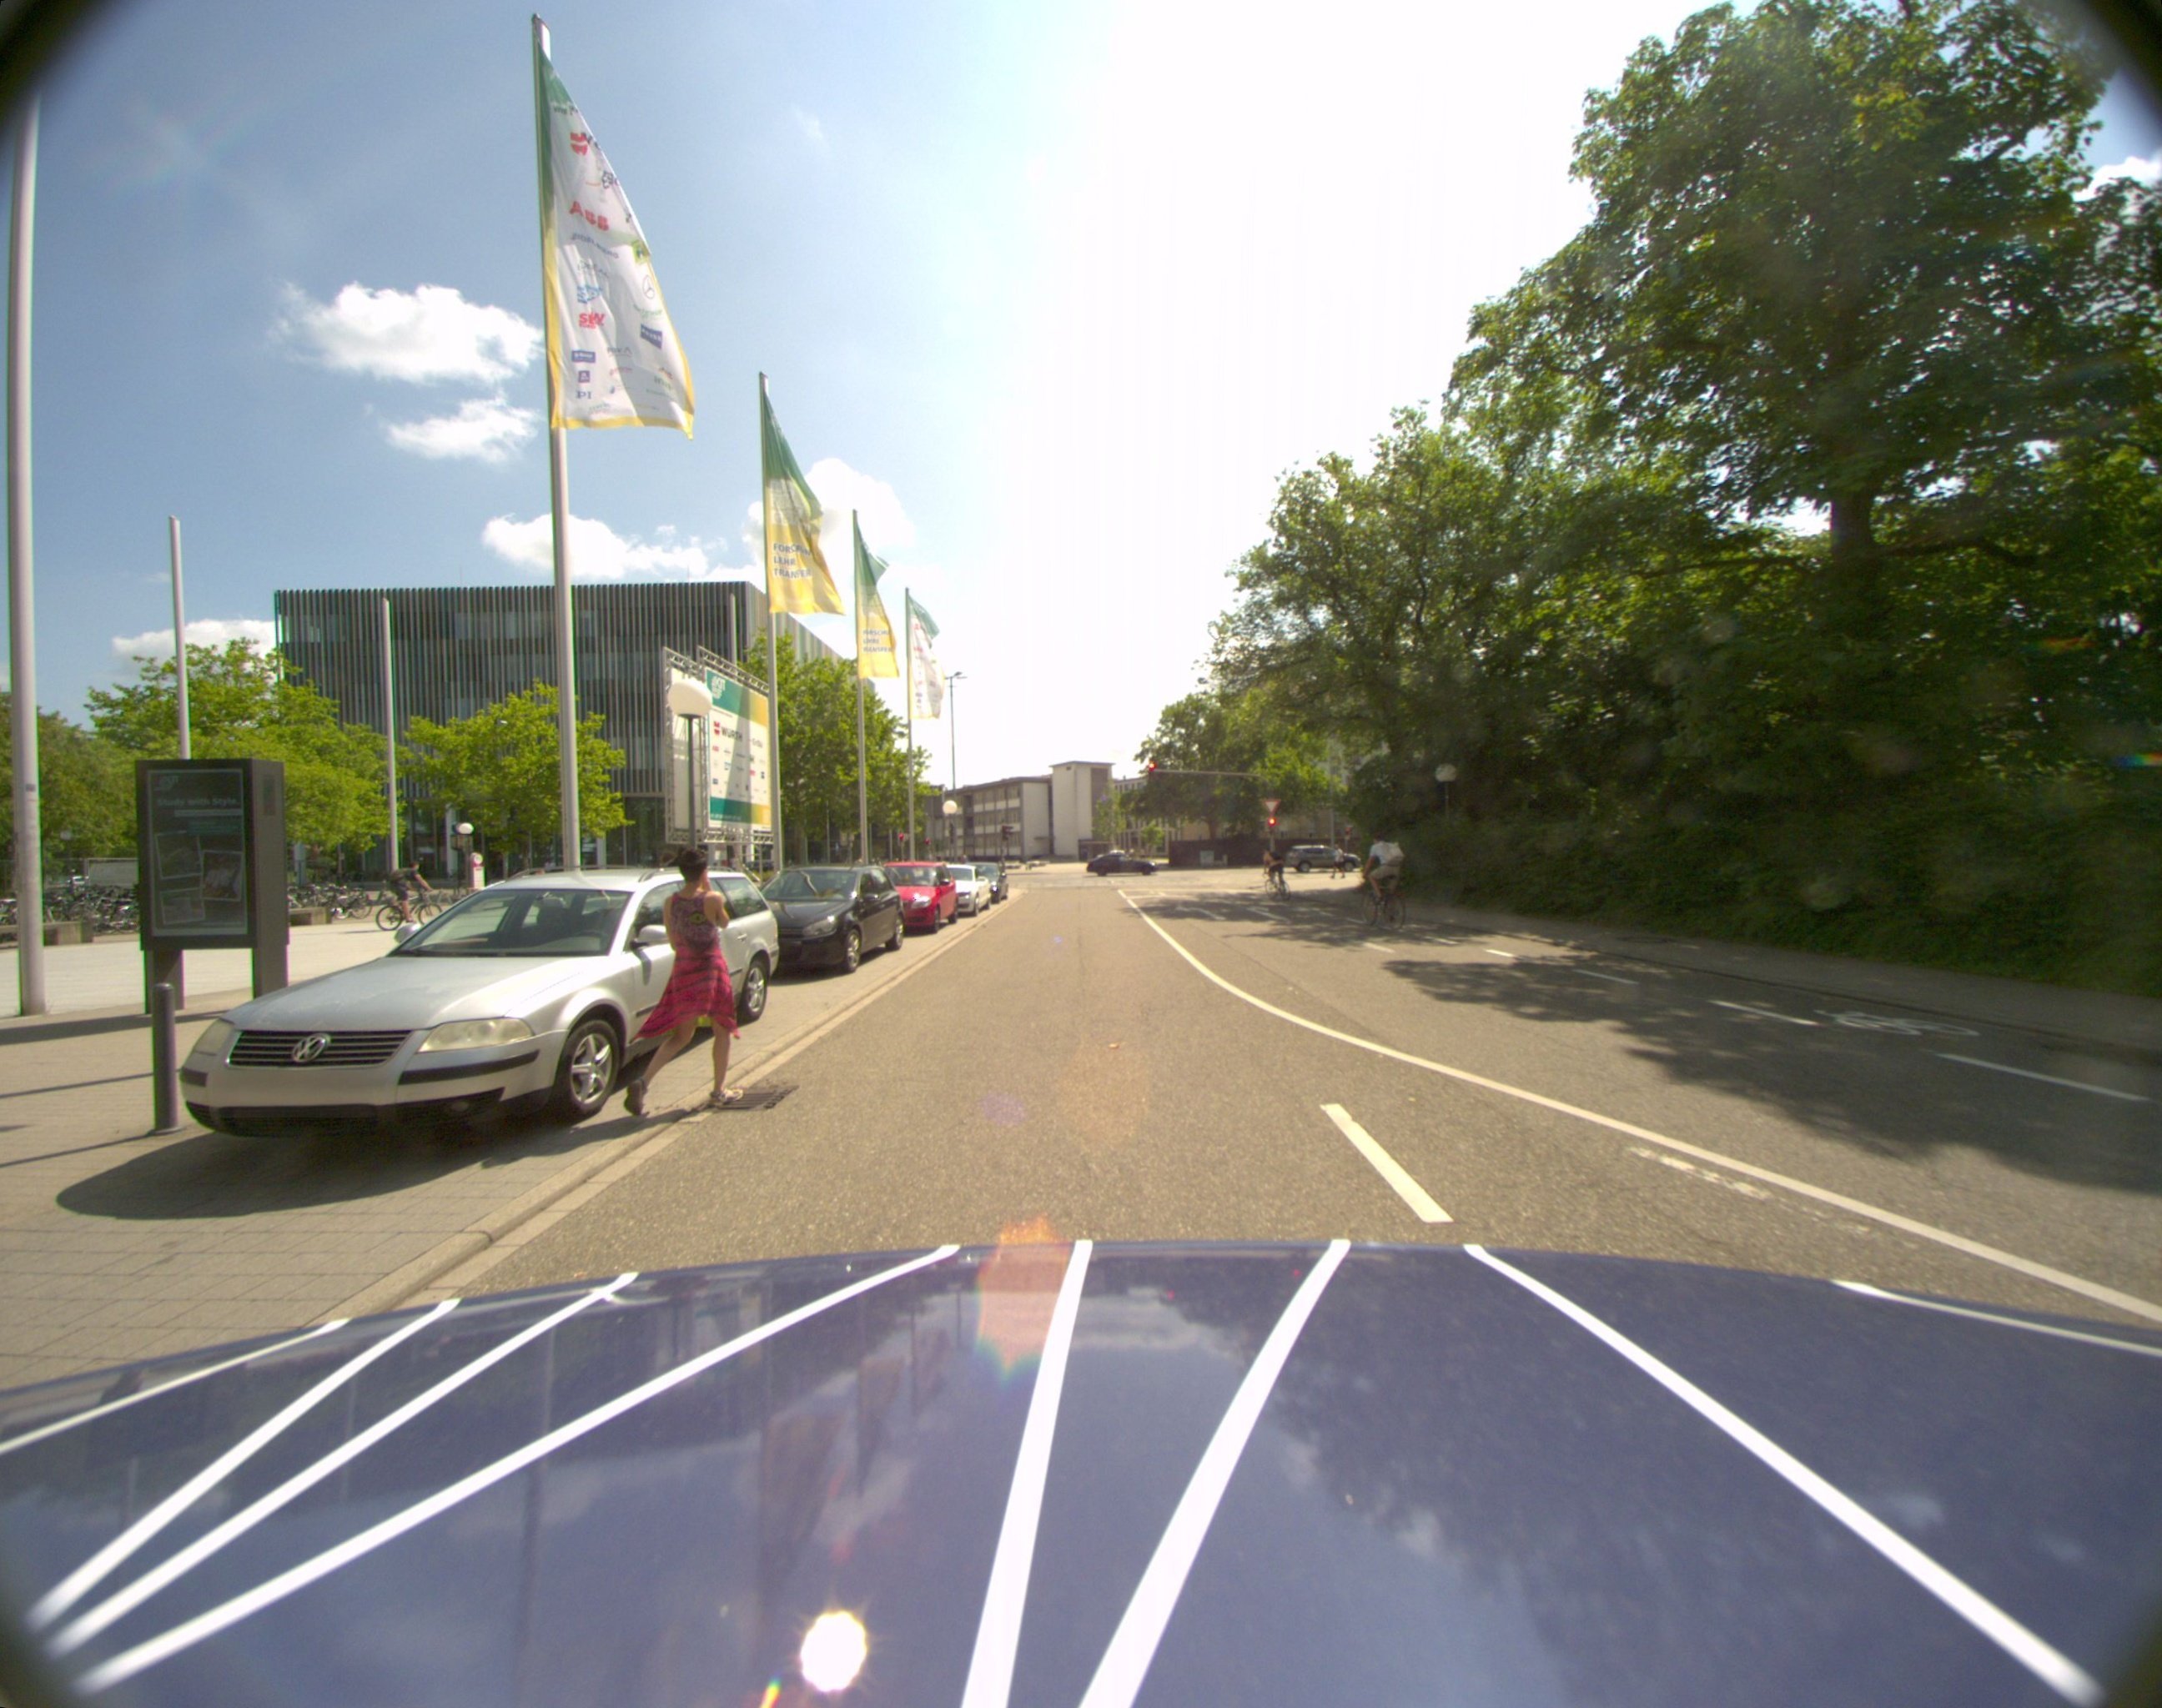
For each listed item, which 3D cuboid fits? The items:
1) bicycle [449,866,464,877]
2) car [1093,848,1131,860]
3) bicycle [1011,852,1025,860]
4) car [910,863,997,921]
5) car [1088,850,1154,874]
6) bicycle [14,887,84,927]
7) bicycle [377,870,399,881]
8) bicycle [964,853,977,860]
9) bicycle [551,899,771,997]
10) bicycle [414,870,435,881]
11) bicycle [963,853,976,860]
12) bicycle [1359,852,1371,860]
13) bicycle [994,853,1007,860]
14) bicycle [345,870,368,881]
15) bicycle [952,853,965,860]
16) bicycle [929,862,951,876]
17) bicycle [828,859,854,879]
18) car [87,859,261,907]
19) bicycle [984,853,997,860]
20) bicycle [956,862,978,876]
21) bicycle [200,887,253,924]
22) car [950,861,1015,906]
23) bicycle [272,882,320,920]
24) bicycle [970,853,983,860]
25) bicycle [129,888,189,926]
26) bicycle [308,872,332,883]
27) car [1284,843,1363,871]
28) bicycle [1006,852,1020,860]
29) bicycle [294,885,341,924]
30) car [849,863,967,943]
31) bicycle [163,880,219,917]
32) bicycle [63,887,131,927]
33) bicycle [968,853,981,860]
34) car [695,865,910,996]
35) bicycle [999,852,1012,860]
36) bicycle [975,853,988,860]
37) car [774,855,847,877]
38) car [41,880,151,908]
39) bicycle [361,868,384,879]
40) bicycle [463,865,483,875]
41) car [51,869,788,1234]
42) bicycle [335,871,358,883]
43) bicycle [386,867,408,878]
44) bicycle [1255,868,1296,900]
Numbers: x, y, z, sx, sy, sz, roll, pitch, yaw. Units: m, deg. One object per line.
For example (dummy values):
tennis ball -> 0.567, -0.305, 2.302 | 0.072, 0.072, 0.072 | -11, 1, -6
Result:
bicycle -> -59.723, 1.657, 72.684 | 0.373, 0.950, 1.544 | -2, 2, -11
car -> 3.917, -0.058, 96.137 | 4.501, 1.299, 1.995 | -2, 3, -32
bicycle -> -8.289, 0.273, 100.080 | 1.776, 0.950, 0.528 | -1, 3, -26
car -> -3.567, 1.020, 21.996 | 1.722, 1.392, 4.438 | 1, 1, 0
car -> 2.588, 0.498, 49.322 | 4.186, 1.408, 1.830 | 0, 3, 4
bicycle -> -32.744, 1.662, 24.139 | 0.605, 1.093, 1.763 | -3, 3, -30
bicycle -> -67.029, 2.068, 73.486 | 0.433, 0.950, 1.784 | -1, 2, 0
bicycle -> -16.105, 0.349, 111.120 | 1.776, 0.950, 0.527 | -1, 3, -28
bicycle -> -5.033, 1.108, 9.213 | 2.152, 1.072, 0.904 | 0, 1, 2
bicycle -> -63.539, 2.052, 73.548 | 0.433, 0.950, 1.784 | -1, 2, 0
bicycle -> -16.427, 0.370, 111.693 | 1.776, 0.950, 0.527 | -1, 3, -28
bicycle -> 25.662, 0.211, 68.671 | 0.409, 0.678, 1.005 | -2, 3, -25
bicycle -> -11.009, 0.300, 104.183 | 1.776, 0.950, 0.527 | -1, 3, -28
bicycle -> -70.120, 2.053, 73.523 | 0.433, 0.950, 1.784 | -1, 2, 0
bicycle -> -18.526, 0.424, 114.805 | 1.776, 0.950, 0.527 | -1, 3, -28
bicycle -> -11.755, 1.249, 63.388 | 1.673, 1.118, 0.693 | -2, 1, -28
bicycle -> -13.264, 0.859, 42.013 | 0.817, 1.066, 1.892 | 0, -2, 0
car -> -39.090, 1.225, 32.853 | 4.939, 1.854, 1.903 | -1, 2, -3
bicycle -> -12.573, 0.325, 105.900 | 1.776, 0.950, 0.527 | -1, 3, -28
bicycle -> -9.699, 1.282, 64.595 | 1.673, 1.118, 0.694 | -2, 1, -25
bicycle -> -28.358, 1.702, 25.255 | 0.605, 1.092, 1.763 | -3, 1, -30
car -> -3.517, 1.011, 27.849 | 1.722, 1.392, 4.948 | 1, 1, 0
bicycle -> -26.065, 1.548, 25.262 | 0.605, 1.093, 1.763 | -3, 3, -30
bicycle -> -14.965, 0.357, 108.986 | 1.776, 0.950, 0.527 | -1, 3, -28
bicycle -> -29.380, 1.663, 24.234 | 0.605, 1.092, 1.763 | -3, 1, -30
bicycle -> -73.612, 2.272, 73.475 | 0.433, 0.950, 1.784 | -1, 2, 0
car -> 15.414, 0.163, 48.482 | 4.473, 1.669, 1.825 | -1, 1, 5
bicycle -> -9.072, 0.245, 101.140 | 1.776, 0.950, 0.527 | -1, 3, -28
bicycle -> -25.140, 1.652, 25.034 | 0.605, 1.093, 1.763 | -3, 3, -30
car -> -3.721, 0.992, 17.053 | 1.618, 1.488, 4.147 | 1, 0, 1
bicycle -> -28.707, 1.425, 24.540 | 0.605, 1.092, 1.763 | -2, 1, -30
bicycle -> -30.062, 1.603, 23.239 | 0.605, 1.092, 1.763 | -3, 1, -30
bicycle -> -15.330, 0.365, 109.802 | 1.776, 0.950, 0.527 | -1, 3, -28
car -> -3.918, 0.984, 11.468 | 1.723, 1.520, 4.000 | -1, 1, 0
bicycle -> -10.252, 0.288, 103.097 | 1.776, 0.950, 0.527 | -1, 3, -28
bicycle -> -14.186, 0.367, 107.933 | 1.776, 0.950, 0.527 | -1, 3, -28
car -> -20.123, 0.886, 56.634 | 4.712, 1.520, 2.000 | -1, 1, 0
car -> -59.136, 2.408, 45.633 | 4.935, 1.442, 1.745 | -2, -1, 7
bicycle -> -68.423, 1.918, 73.377 | 0.433, 0.950, 1.784 | -1, 2, 0
bicycle -> -58.842, 1.546, 73.529 | 0.373, 0.950, 1.548 | -1, 2, 15
car -> -3.839, 0.933, 5.714 | 1.724, 1.520, 4.564 | 0, 0, -3
bicycle -> -70.998, 2.224, 73.487 | 0.433, 0.950, 1.784 | -1, 2, 0
bicycle -> -66.140, 1.807, 73.495 | 0.433, 0.950, 1.784 | -1, 2, 0
bicycle -> 6.556, 0.991, 25.721 | 0.795, 0.983, 2.209 | -1, 1, -1
